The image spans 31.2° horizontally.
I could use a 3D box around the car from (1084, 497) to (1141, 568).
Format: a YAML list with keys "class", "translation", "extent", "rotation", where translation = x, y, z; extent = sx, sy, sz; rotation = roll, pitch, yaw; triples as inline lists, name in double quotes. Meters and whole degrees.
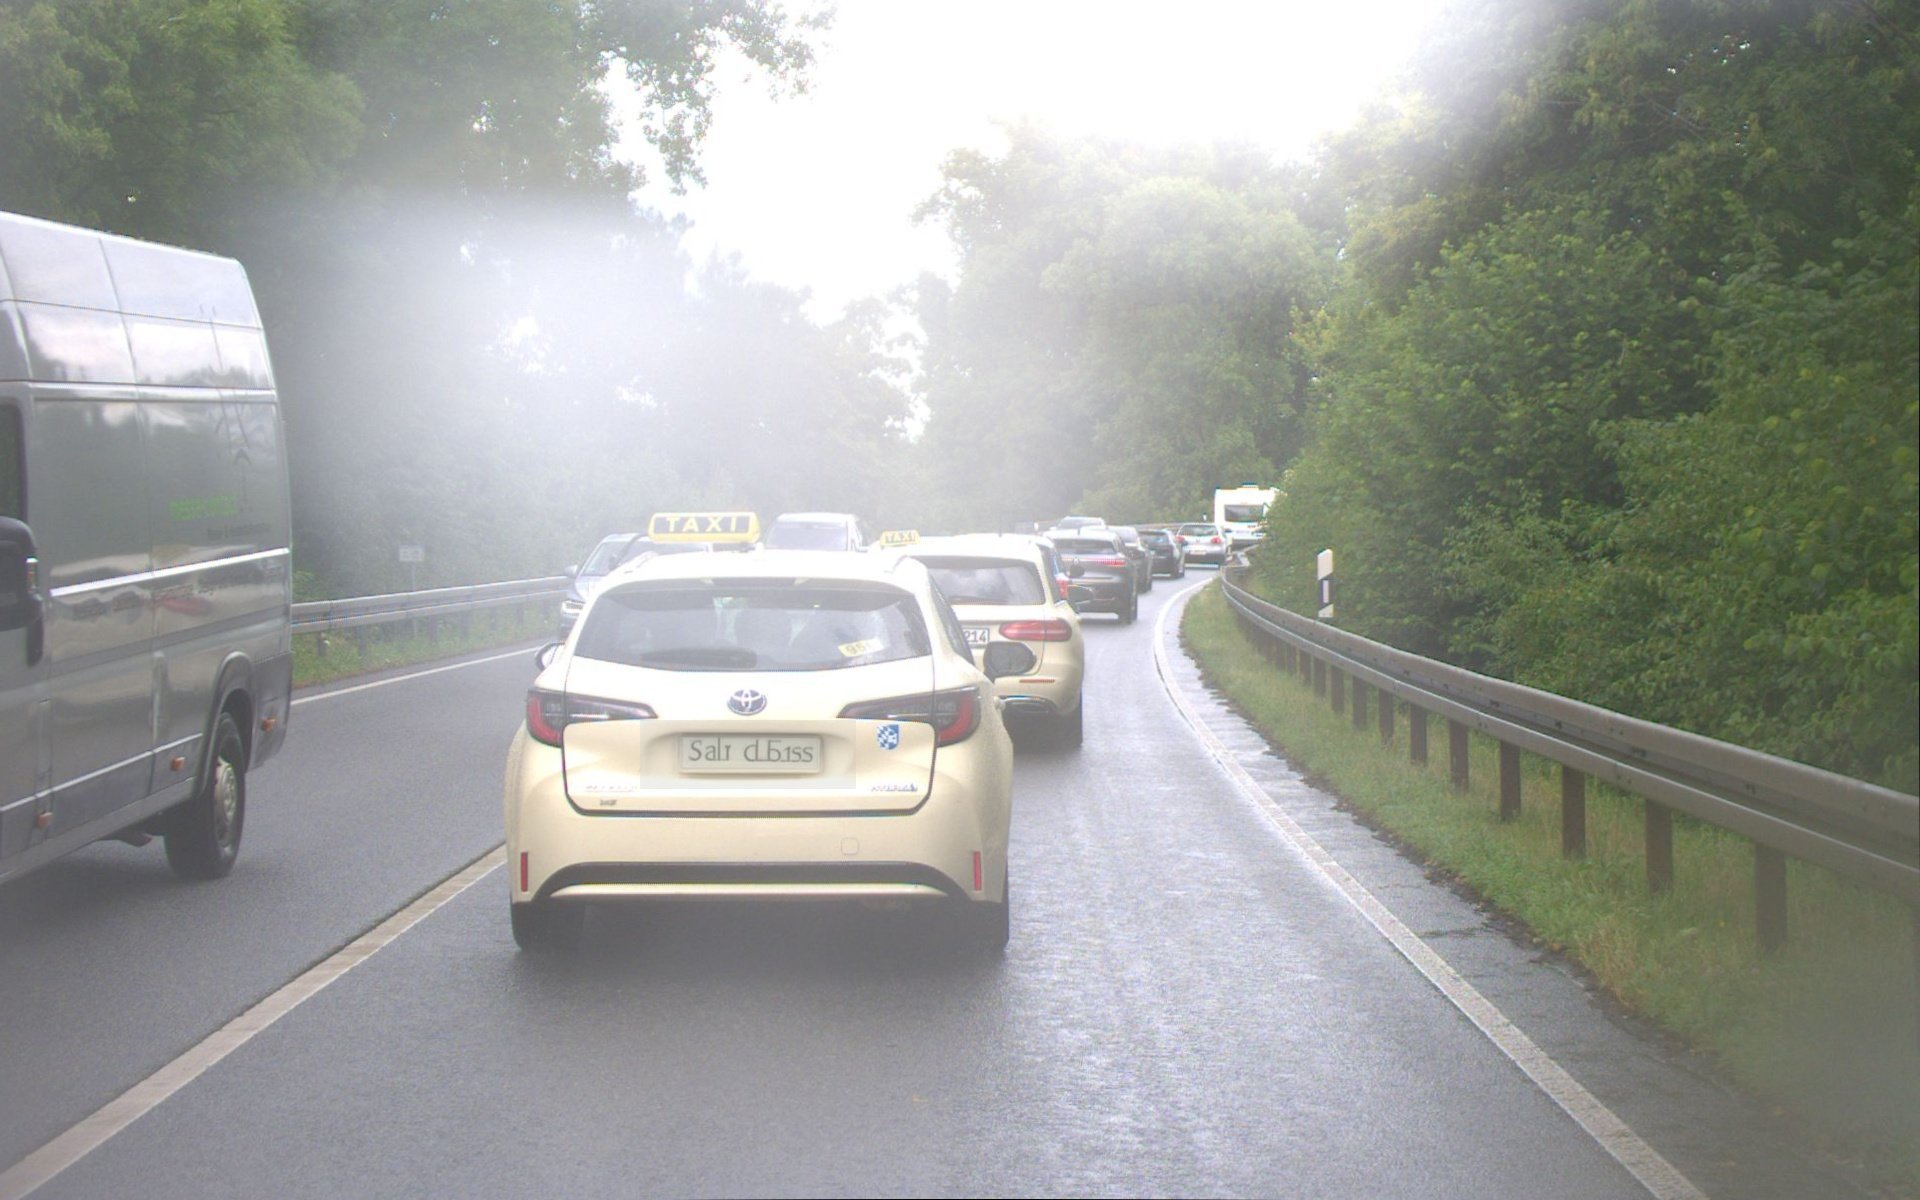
- class: "car"
  translation: [3.368, -1.472, 75.671]
  extent: [1.167, 1.541, 2.604]
  rotation: [1, 1, 4]

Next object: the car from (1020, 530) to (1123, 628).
- class: "car"
  translation: [1.841, -0.334, 55.929]
  extent: [1.611, 1.541, 3.813]
  rotation: [0, 0, 3]

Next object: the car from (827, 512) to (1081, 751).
- class: "car"
  translation: [-0.003, 0.191, 24.834]
  extent: [1.667, 1.575, 3.892]
  rotation: [1, 1, 1]

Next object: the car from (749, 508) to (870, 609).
- class: "car"
  translation: [-2.593, -0.721, 60.128]
  extent: [1.815, 1.680, 4.622]
  rotation: [1, 1, 1]

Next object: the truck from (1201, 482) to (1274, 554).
- class: "truck"
  translation: [10.899, -3.186, 135.507]
  extent: [2.550, 2.704, 7.534]
  rotation: [1, 1, 3]

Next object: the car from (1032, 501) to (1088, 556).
- class: "car"
  translation: [3.760, -2.661, 128.868]
  extent: [1.994, 2.007, 4.000]
  rotation: [1, 1, 3]

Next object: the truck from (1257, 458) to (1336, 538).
- class: "truck"
  translation: [16.194, -4.873, 165.076]
  extent: [3.108, 3.668, 6.997]
  rotation: [1, 1, 11]

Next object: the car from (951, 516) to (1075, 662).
- class: "car"
  translation: [0.589, -0.130, 38.353]
  extent: [1.300, 1.541, 3.260]
  rotation: [1, 1, 1]

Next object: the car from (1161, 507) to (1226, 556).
- class: "car"
  translation: [7.595, -2.221, 111.793]
  extent: [1.770, 1.541, 3.812]
  rotation: [1, 1, 9]

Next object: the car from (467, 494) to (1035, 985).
- class: "car"
  translation: [-0.640, 0.432, 13.254]
  extent: [1.834, 1.575, 4.156]
  rotation: [1, 1, 1]

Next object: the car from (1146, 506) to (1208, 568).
- class: "car"
  translation: [5.869, -1.688, 93.035]
  extent: [1.616, 1.607, 3.621]
  rotation: [1, 1, 3]

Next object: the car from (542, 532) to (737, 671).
- class: "car"
  translation: [-3.467, -0.004, 37.777]
  extent: [1.728, 1.426, 3.849]
  rotation: [1, 1, 1]

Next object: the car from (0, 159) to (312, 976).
- class: "car"
  translation: [-4.119, -0.123, 12.977]
  extent: [2.048, 2.667, 6.171]
  rotation: [0, 1, 1]
